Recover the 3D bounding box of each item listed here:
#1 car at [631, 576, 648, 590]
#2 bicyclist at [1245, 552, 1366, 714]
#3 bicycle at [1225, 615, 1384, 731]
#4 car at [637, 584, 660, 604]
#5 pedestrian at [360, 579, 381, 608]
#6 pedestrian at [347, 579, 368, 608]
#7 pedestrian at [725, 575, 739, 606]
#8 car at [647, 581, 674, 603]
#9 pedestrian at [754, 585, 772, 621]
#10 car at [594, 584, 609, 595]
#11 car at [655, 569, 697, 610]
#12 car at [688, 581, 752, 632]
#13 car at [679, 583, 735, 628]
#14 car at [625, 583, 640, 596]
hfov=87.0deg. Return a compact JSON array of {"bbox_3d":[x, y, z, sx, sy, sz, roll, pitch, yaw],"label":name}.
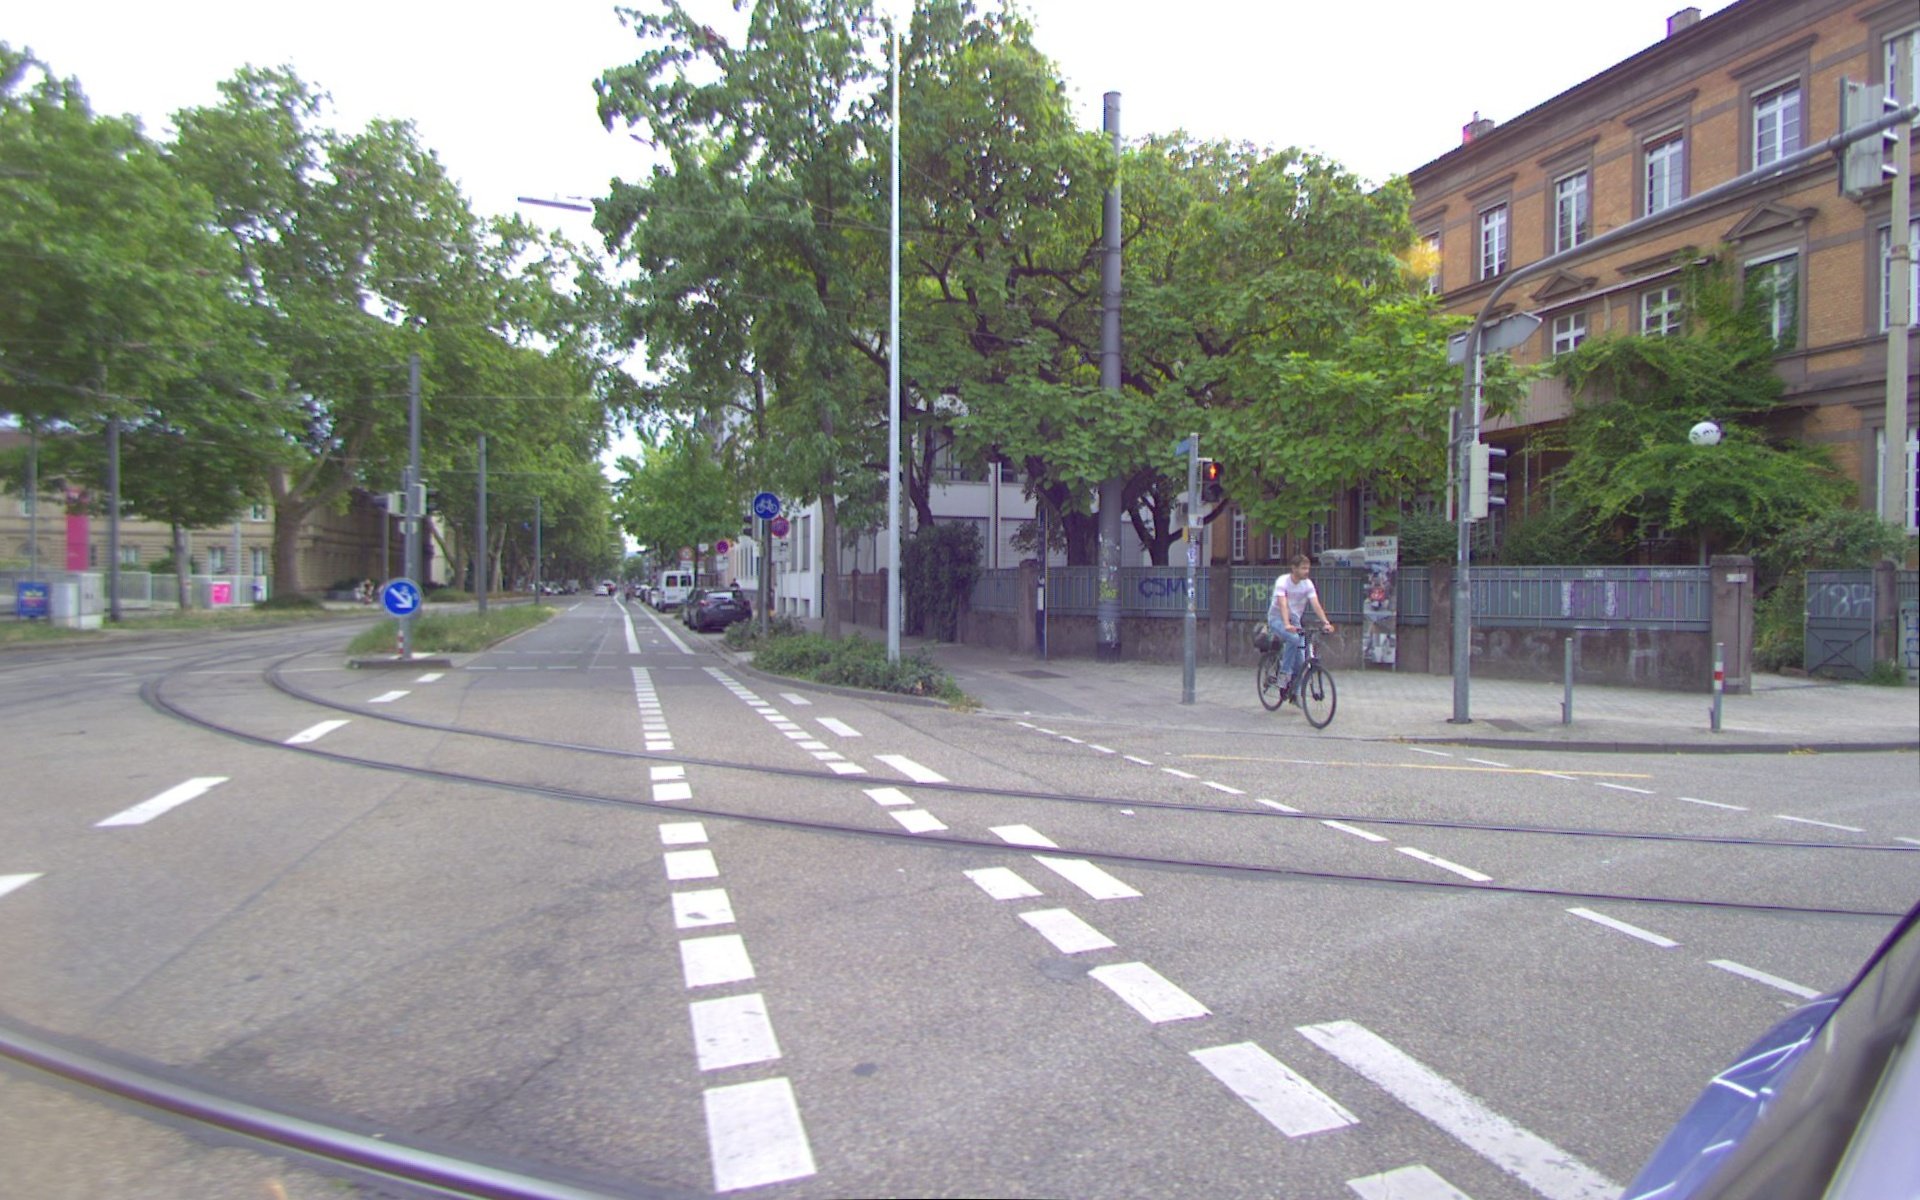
[{"bbox_3d":[-42.219,-2.249,133.099,2.053,1.830,4.430,0,1,-19],"label":"car"},{"bbox_3d":[4.059,0.333,11.971,0.732,1.782,1.256,-1,3,-18],"label":"bicyclist"},{"bbox_3d":[4.037,0.811,12.061,0.735,1.099,2.021,-1,3,-18],"label":"bicycle"},{"bbox_3d":[-30.399,-0.575,98.687,2.053,1.830,4.430,0,1,-19],"label":"car"},{"bbox_3d":[-39.304,-0.425,67.464,0.819,1.888,1.253,0,1,-7],"label":"pedestrian"},{"bbox_3d":[-40.189,-0.450,67.494,0.819,1.888,1.178,0,1,-8],"label":"pedestrian"},{"bbox_3d":[-13.161,-0.560,58.415,0.753,1.803,0.767,0,1,-18],"label":"pedestrian"},{"bbox_3d":[-25.783,-0.732,87.078,2.053,1.830,4.430,0,1,-19],"label":"car"},{"bbox_3d":[-9.451,0.146,48.581,0.753,1.671,0.767,0,1,-18],"label":"pedestrian"},{"bbox_3d":[-51.658,-1.443,145.756,1.809,1.510,3.755,-1,0,-22],"label":"car"},{"bbox_3d":[-16.229,-0.628,57.685,2.053,2.217,4.430,0,1,-19],"label":"car"},{"bbox_3d":[-8.158,0.150,34.151,1.700,1.580,4.430,0,1,-19],"label":"car"},{"bbox_3d":[-9.680,0.159,38.481,1.723,1.555,4.430,0,1,-19],"label":"car"},{"bbox_3d":[-50.611,-1.683,156.386,2.053,1.889,4.431,0,1,-18],"label":"car"}]
